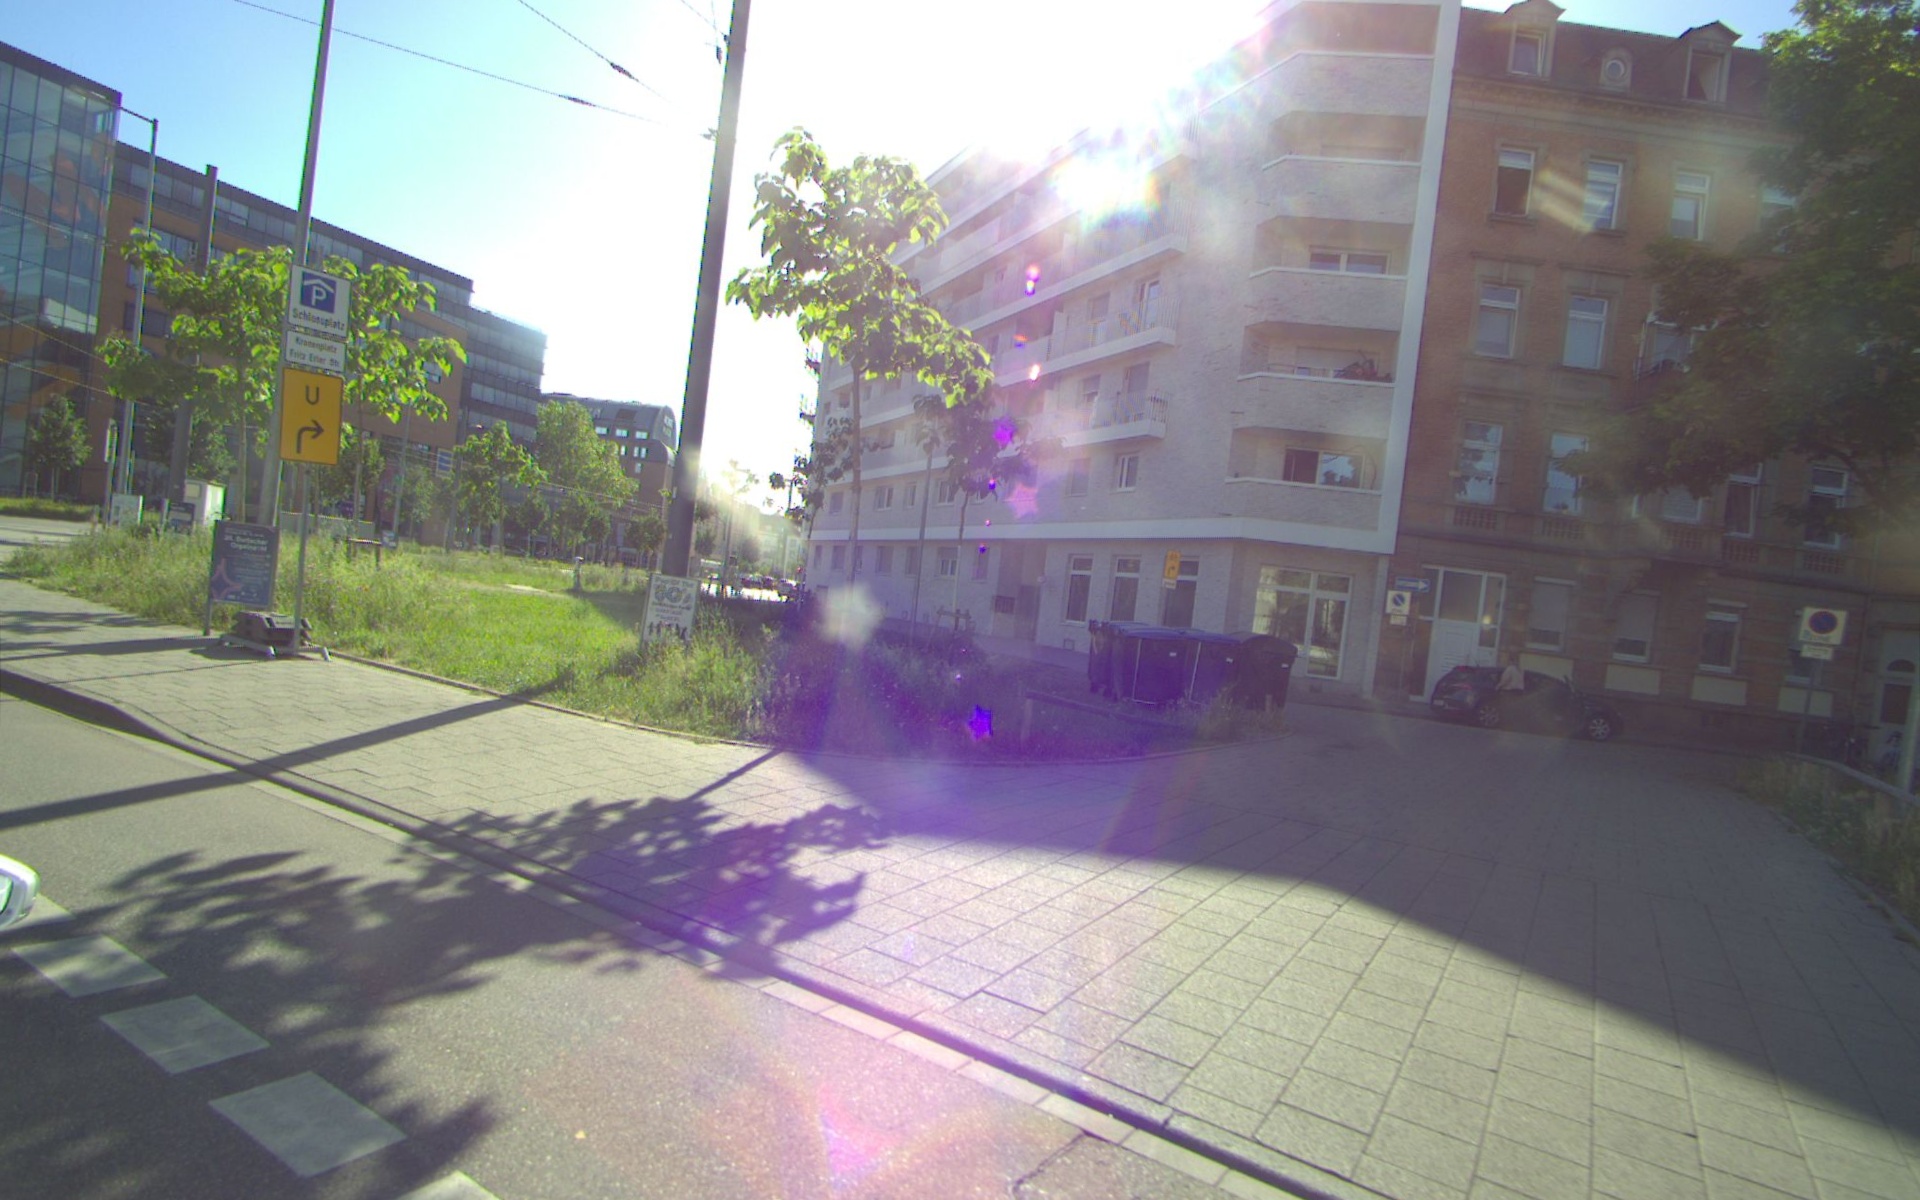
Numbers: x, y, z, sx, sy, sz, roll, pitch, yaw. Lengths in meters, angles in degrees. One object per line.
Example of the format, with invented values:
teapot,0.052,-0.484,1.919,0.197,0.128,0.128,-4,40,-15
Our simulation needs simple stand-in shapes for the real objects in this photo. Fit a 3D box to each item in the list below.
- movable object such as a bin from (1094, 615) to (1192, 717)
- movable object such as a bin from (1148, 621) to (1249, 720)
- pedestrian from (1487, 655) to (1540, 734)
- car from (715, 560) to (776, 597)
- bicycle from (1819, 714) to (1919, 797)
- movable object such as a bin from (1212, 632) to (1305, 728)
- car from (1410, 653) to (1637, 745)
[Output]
movable object such as a bin,2.912,1.037,16.165,1.053,1.416,1.302,7,1,-7
movable object such as a bin,3.934,1.146,16.703,1.091,1.416,1.319,7,1,-7
pedestrian,12.073,2.049,21.982,0.630,1.596,0.772,7,1,11
car,-15.053,-1.503,70.686,3.934,2.038,1.995,7,0,-12
bicycle,17.464,2.867,16.002,2.656,1.141,5.177,7,0,-32
movable object such as a bin,5.019,1.326,16.994,1.014,1.416,1.089,7,1,-7
car,13.046,2.271,23.496,4.032,1.454,2.000,7,0,0
